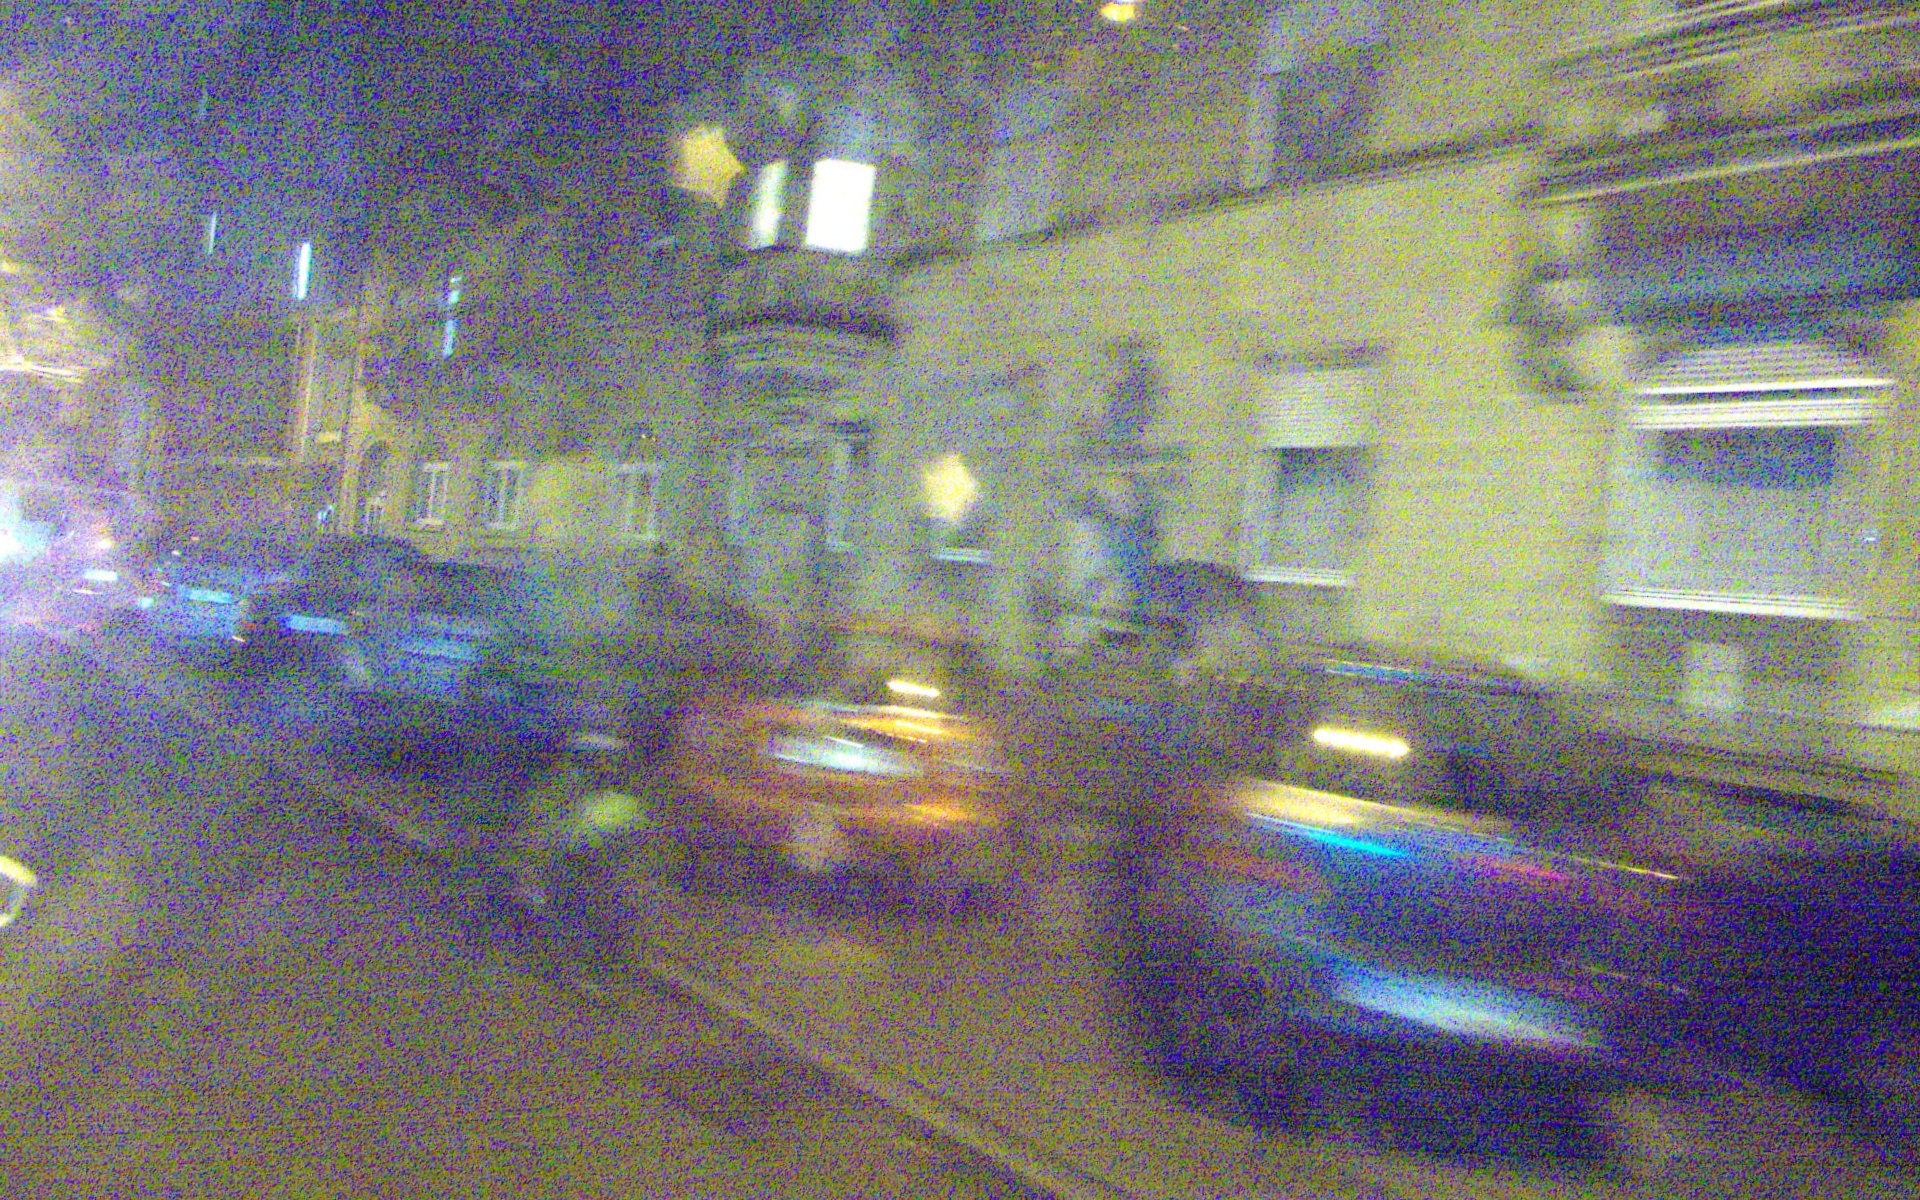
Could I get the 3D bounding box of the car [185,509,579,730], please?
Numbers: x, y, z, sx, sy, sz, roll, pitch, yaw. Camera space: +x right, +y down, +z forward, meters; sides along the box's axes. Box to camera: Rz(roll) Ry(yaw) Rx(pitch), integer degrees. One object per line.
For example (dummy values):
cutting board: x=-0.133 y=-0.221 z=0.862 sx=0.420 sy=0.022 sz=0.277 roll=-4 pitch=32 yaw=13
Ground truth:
car: x=-5.217 y=0.192 z=9.648 sx=1.564 sy=1.580 sz=3.398 roll=6 pitch=-1 yaw=3

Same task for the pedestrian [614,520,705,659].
pedestrian: x=-4.332 y=-0.144 z=14.510 sx=0.830 sy=1.865 sz=0.744 roll=9 pitch=3 yaw=39

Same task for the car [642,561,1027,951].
car: x=-0.477 y=0.743 z=6.260 sx=1.608 sy=1.580 sz=3.398 roll=6 pitch=-1 yaw=4

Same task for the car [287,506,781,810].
car: x=-3.064 y=0.416 z=8.223 sx=1.801 sy=1.709 sz=3.805 roll=6 pitch=-1 yaw=10

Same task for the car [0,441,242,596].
car: x=-16.576 y=-1.461 z=18.830 sx=2.189 sy=2.369 sz=4.945 roll=6 pitch=-1 yaw=6

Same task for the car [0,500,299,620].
car: x=-12.943 y=-0.545 z=16.248 sx=1.582 sy=1.486 sz=3.733 roll=7 pitch=-1 yaw=9

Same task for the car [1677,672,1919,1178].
car: x=3.809 y=1.136 z=2.153 sx=1.565 sy=1.510 sz=4.114 roll=6 pitch=0 yaw=2

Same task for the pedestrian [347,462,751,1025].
pedestrian: x=-1.589 y=0.445 z=3.865 sx=1.160 sy=1.792 sz=0.821 roll=6 pitch=0 yaw=39

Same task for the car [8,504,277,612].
car: x=-14.507 y=-0.679 z=18.102 sx=1.599 sy=1.486 sz=3.458 roll=7 pitch=-1 yaw=9

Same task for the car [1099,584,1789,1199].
car: x=1.579 y=0.882 z=4.581 sx=1.606 sy=1.580 sz=3.485 roll=6 pitch=-1 yaw=6

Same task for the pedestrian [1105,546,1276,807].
pedestrian: x=1.821 y=0.577 z=7.956 sx=0.857 sy=1.865 sz=0.744 roll=9 pitch=3 yaw=39

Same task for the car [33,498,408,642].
car: x=-10.071 y=-0.296 z=14.158 sx=1.717 sy=1.580 sz=4.055 roll=6 pitch=-1 yaw=11

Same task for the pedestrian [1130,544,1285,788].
pedestrian: x=2.139 y=0.548 z=8.715 sx=0.830 sy=1.929 sz=0.744 roll=9 pitch=3 yaw=39

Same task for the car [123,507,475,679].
car: x=-7.567 y=-0.031 z=11.974 sx=1.564 sy=1.580 sz=3.513 roll=6 pitch=-1 yaw=4
